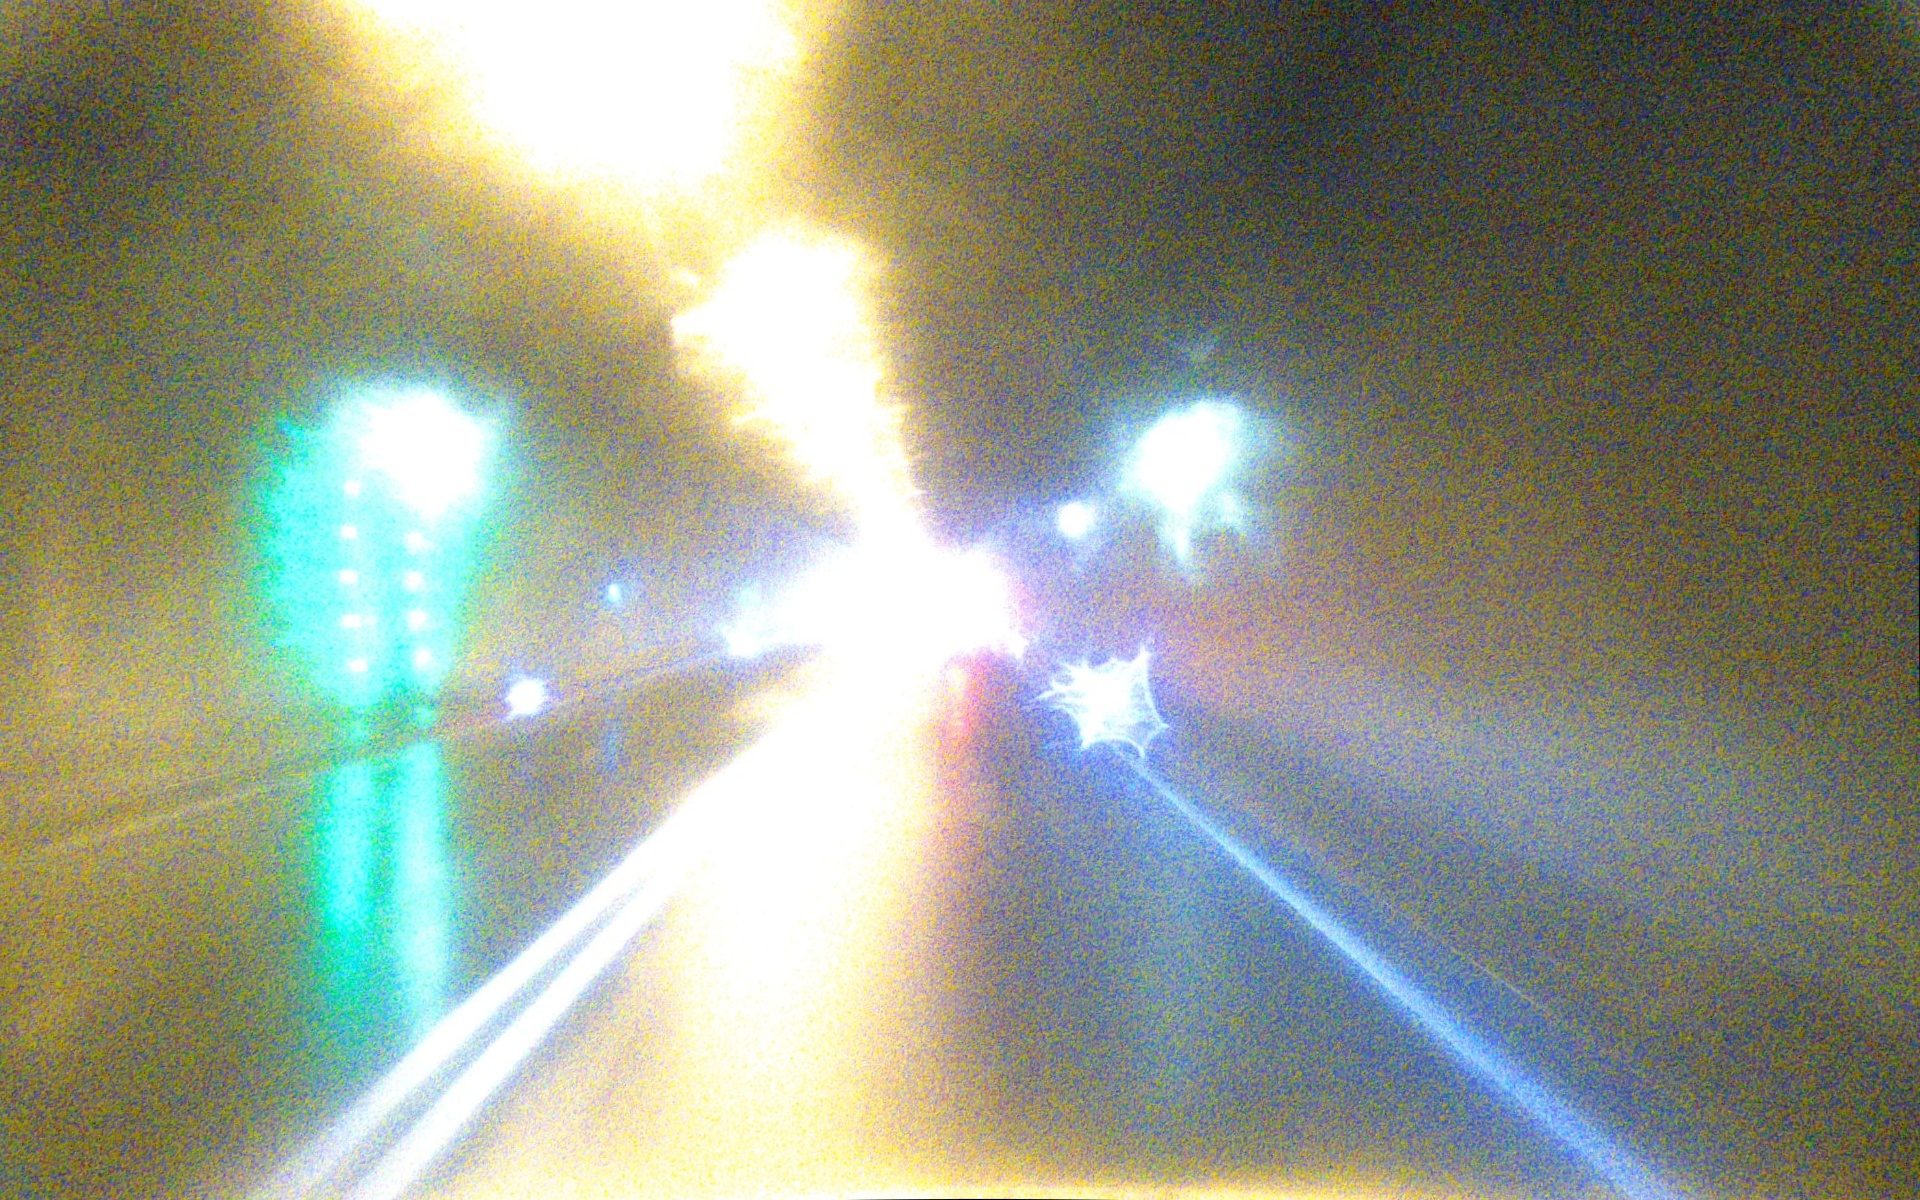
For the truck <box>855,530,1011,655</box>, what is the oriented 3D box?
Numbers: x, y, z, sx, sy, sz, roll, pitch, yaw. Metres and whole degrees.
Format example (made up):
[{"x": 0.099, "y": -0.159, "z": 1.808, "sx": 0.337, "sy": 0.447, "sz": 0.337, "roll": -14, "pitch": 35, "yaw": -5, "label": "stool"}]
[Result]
[{"x": -0.651, "y": -0.168, "z": 41.409, "sx": 3.463, "sy": 2.740, "sz": 8.954, "roll": 1, "pitch": 0, "yaw": -1, "label": "truck"}]
